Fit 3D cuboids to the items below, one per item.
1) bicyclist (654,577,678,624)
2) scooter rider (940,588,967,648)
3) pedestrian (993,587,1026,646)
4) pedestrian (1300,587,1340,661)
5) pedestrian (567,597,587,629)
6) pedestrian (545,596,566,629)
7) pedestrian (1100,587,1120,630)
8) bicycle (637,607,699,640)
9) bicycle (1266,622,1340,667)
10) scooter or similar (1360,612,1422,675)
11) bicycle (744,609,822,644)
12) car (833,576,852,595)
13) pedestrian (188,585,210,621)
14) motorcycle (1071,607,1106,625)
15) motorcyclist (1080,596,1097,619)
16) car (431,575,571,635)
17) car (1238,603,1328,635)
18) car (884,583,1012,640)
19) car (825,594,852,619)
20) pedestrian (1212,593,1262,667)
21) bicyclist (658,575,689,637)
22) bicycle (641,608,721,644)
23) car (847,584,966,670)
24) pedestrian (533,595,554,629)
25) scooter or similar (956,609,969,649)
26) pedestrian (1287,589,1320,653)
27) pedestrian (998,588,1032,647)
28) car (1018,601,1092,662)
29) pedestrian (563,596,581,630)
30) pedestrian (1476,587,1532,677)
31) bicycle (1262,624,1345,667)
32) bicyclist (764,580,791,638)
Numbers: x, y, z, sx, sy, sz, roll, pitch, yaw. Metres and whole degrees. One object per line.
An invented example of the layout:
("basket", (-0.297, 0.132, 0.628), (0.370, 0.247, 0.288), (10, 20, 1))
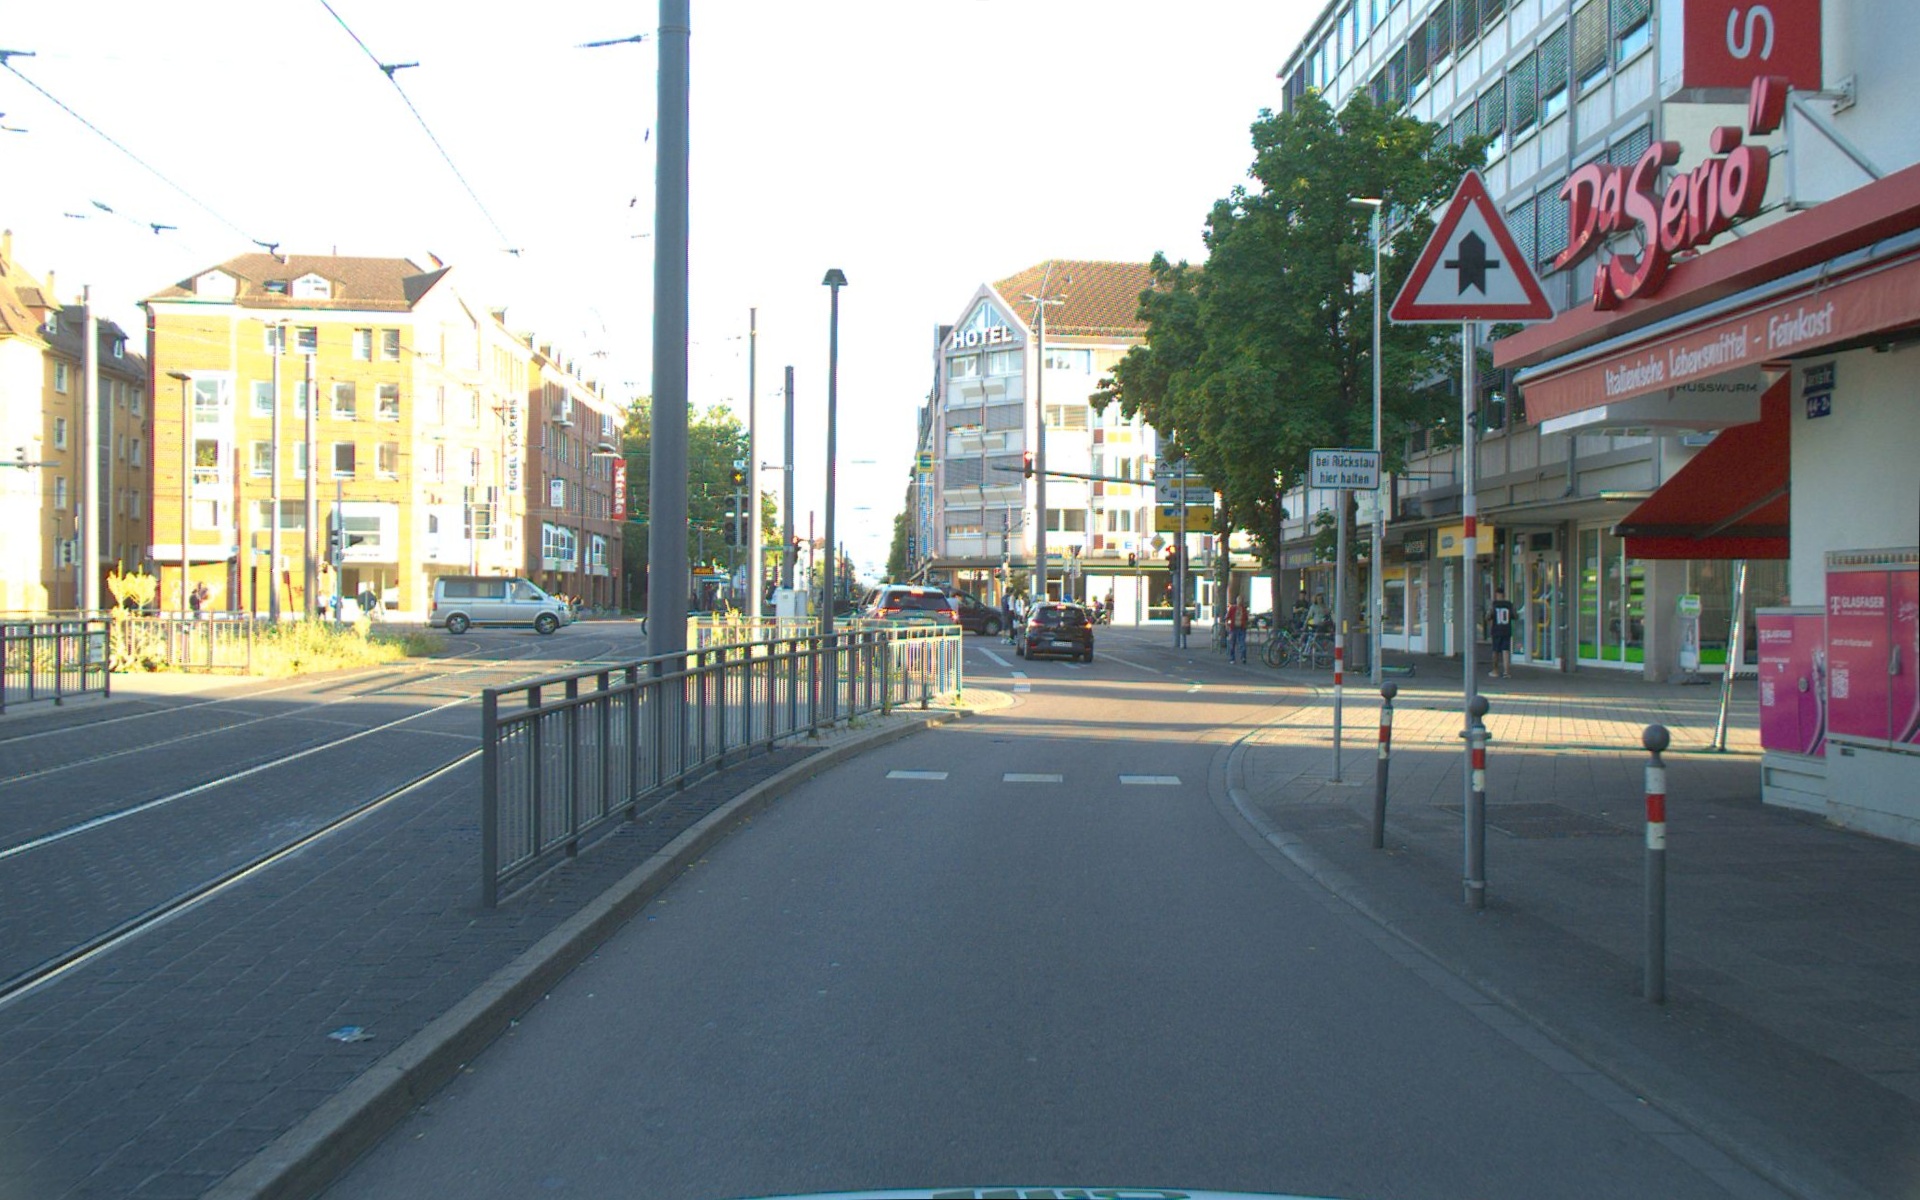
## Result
("bicyclist", (-9.763, 0.022, 54.881), (0.693, 1.538, 0.547), (-2, 0, -19))
("scooter rider", (-0.187, 0.512, 47.028), (0.648, 1.676, 0.661), (2, -1, 5))
("pedestrian", (1.611, 0.538, 53.520), (0.974, 1.862, 0.728), (2, -1, -1))
("pedestrian", (9.022, 0.610, 41.516), (0.731, 1.809, 0.973), (2, -1, -2))
("pedestrian", (-25.160, 0.846, 108.609), (1.072, 2.049, 1.162), (2, -1, -5))
("pedestrian", (-25.682, 0.782, 104.986), (1.072, 2.049, 0.907), (2, -1, -5))
("pedestrian", (6.502, 0.362, 71.530), (0.731, 1.809, 0.800), (2, -1, -1))
("bicycle", (-9.698, 0.781, 54.905), (1.998, 1.046, 0.416), (1, 0, -9))
("bicycle", (7.986, 1.035, 38.515), (1.622, 0.991, 0.386), (2, -1, 4))
("scooter or similar", (8.604, 0.860, 33.044), (1.200, 1.239, 0.292), (-1, -3, 43))
("bicycle", (-6.038, 0.902, 56.388), (2.591, 1.119, 0.434), (2, -1, -9))
("car", (-13.335, -1.635, 188.396), (1.953, 1.934, 3.998), (2, -1, -2))
("pedestrian", (-37.630, 0.154, 81.748), (0.674, 1.773, 0.668), (1, -2, 16))
("motorcycle", (6.868, 0.848, 88.508), (1.799, 0.924, 0.431), (2, -1, -8))
("motorcyclist", (6.878, 0.395, 88.531), (0.691, 1.242, 0.787), (2, -1, -9))
("car", (-15.917, 0.163, 57.365), (4.610, 2.049, 1.990), (0, 0, -18))
("car", (17.707, 1.043, 90.791), (4.464, 1.649, 1.995), (1, -1, -6))
("car", (-0.475, 0.410, 62.014), (4.484, 2.072, 1.992), (0, 0, -15))
("car", (-8.959, 0.512, 122.098), (1.775, 1.777, 3.713), (2, -1, -2))
("pedestrian", (6.656, 0.713, 39.781), (0.810, 1.714, 1.044), (2, -1, -15))
("bicyclist", (-9.628, 0.193, 55.644), (0.848, 2.049, 0.642), (2, -1, -22))
("bicycle", (-9.405, 0.887, 55.746), (2.604, 1.119, 0.432), (2, -1, -23))
("car", (-1.186, 0.531, 34.629), (1.803, 1.665, 4.078), (1, 0, -12))
("pedestrian", (-25.968, 0.749, 103.051), (1.072, 2.049, 0.907), (2, -1, -5))
("scooter or similar", (0.078, 0.832, 47.155), (0.273, 1.110, 1.257), (2, -1, 4))
("pedestrian", (9.989, 0.612, 48.104), (0.731, 1.809, 0.800), (2, -1, -2))
("pedestrian", (1.736, 0.556, 52.695), (0.974, 1.862, 0.728), (2, -1, -2))
("car", (2.385, 0.762, 42.284), (1.728, 1.465, 4.000), (0, 0, 1))
("pedestrian", (-24.415, 0.819, 104.076), (0.957, 2.049, 0.907), (2, -1, -5))
("pedestrian", (10.616, 0.624, 32.294), (0.731, 1.713, 0.894), (2, -1, -2))
("bicycle", (7.796, 1.034, 37.553), (1.780, 0.907, 0.415), (2, -1, 4))
("bicyclist", (-6.223, 0.311, 56.342), (0.844, 1.911, 0.645), (2, -1, -10))
